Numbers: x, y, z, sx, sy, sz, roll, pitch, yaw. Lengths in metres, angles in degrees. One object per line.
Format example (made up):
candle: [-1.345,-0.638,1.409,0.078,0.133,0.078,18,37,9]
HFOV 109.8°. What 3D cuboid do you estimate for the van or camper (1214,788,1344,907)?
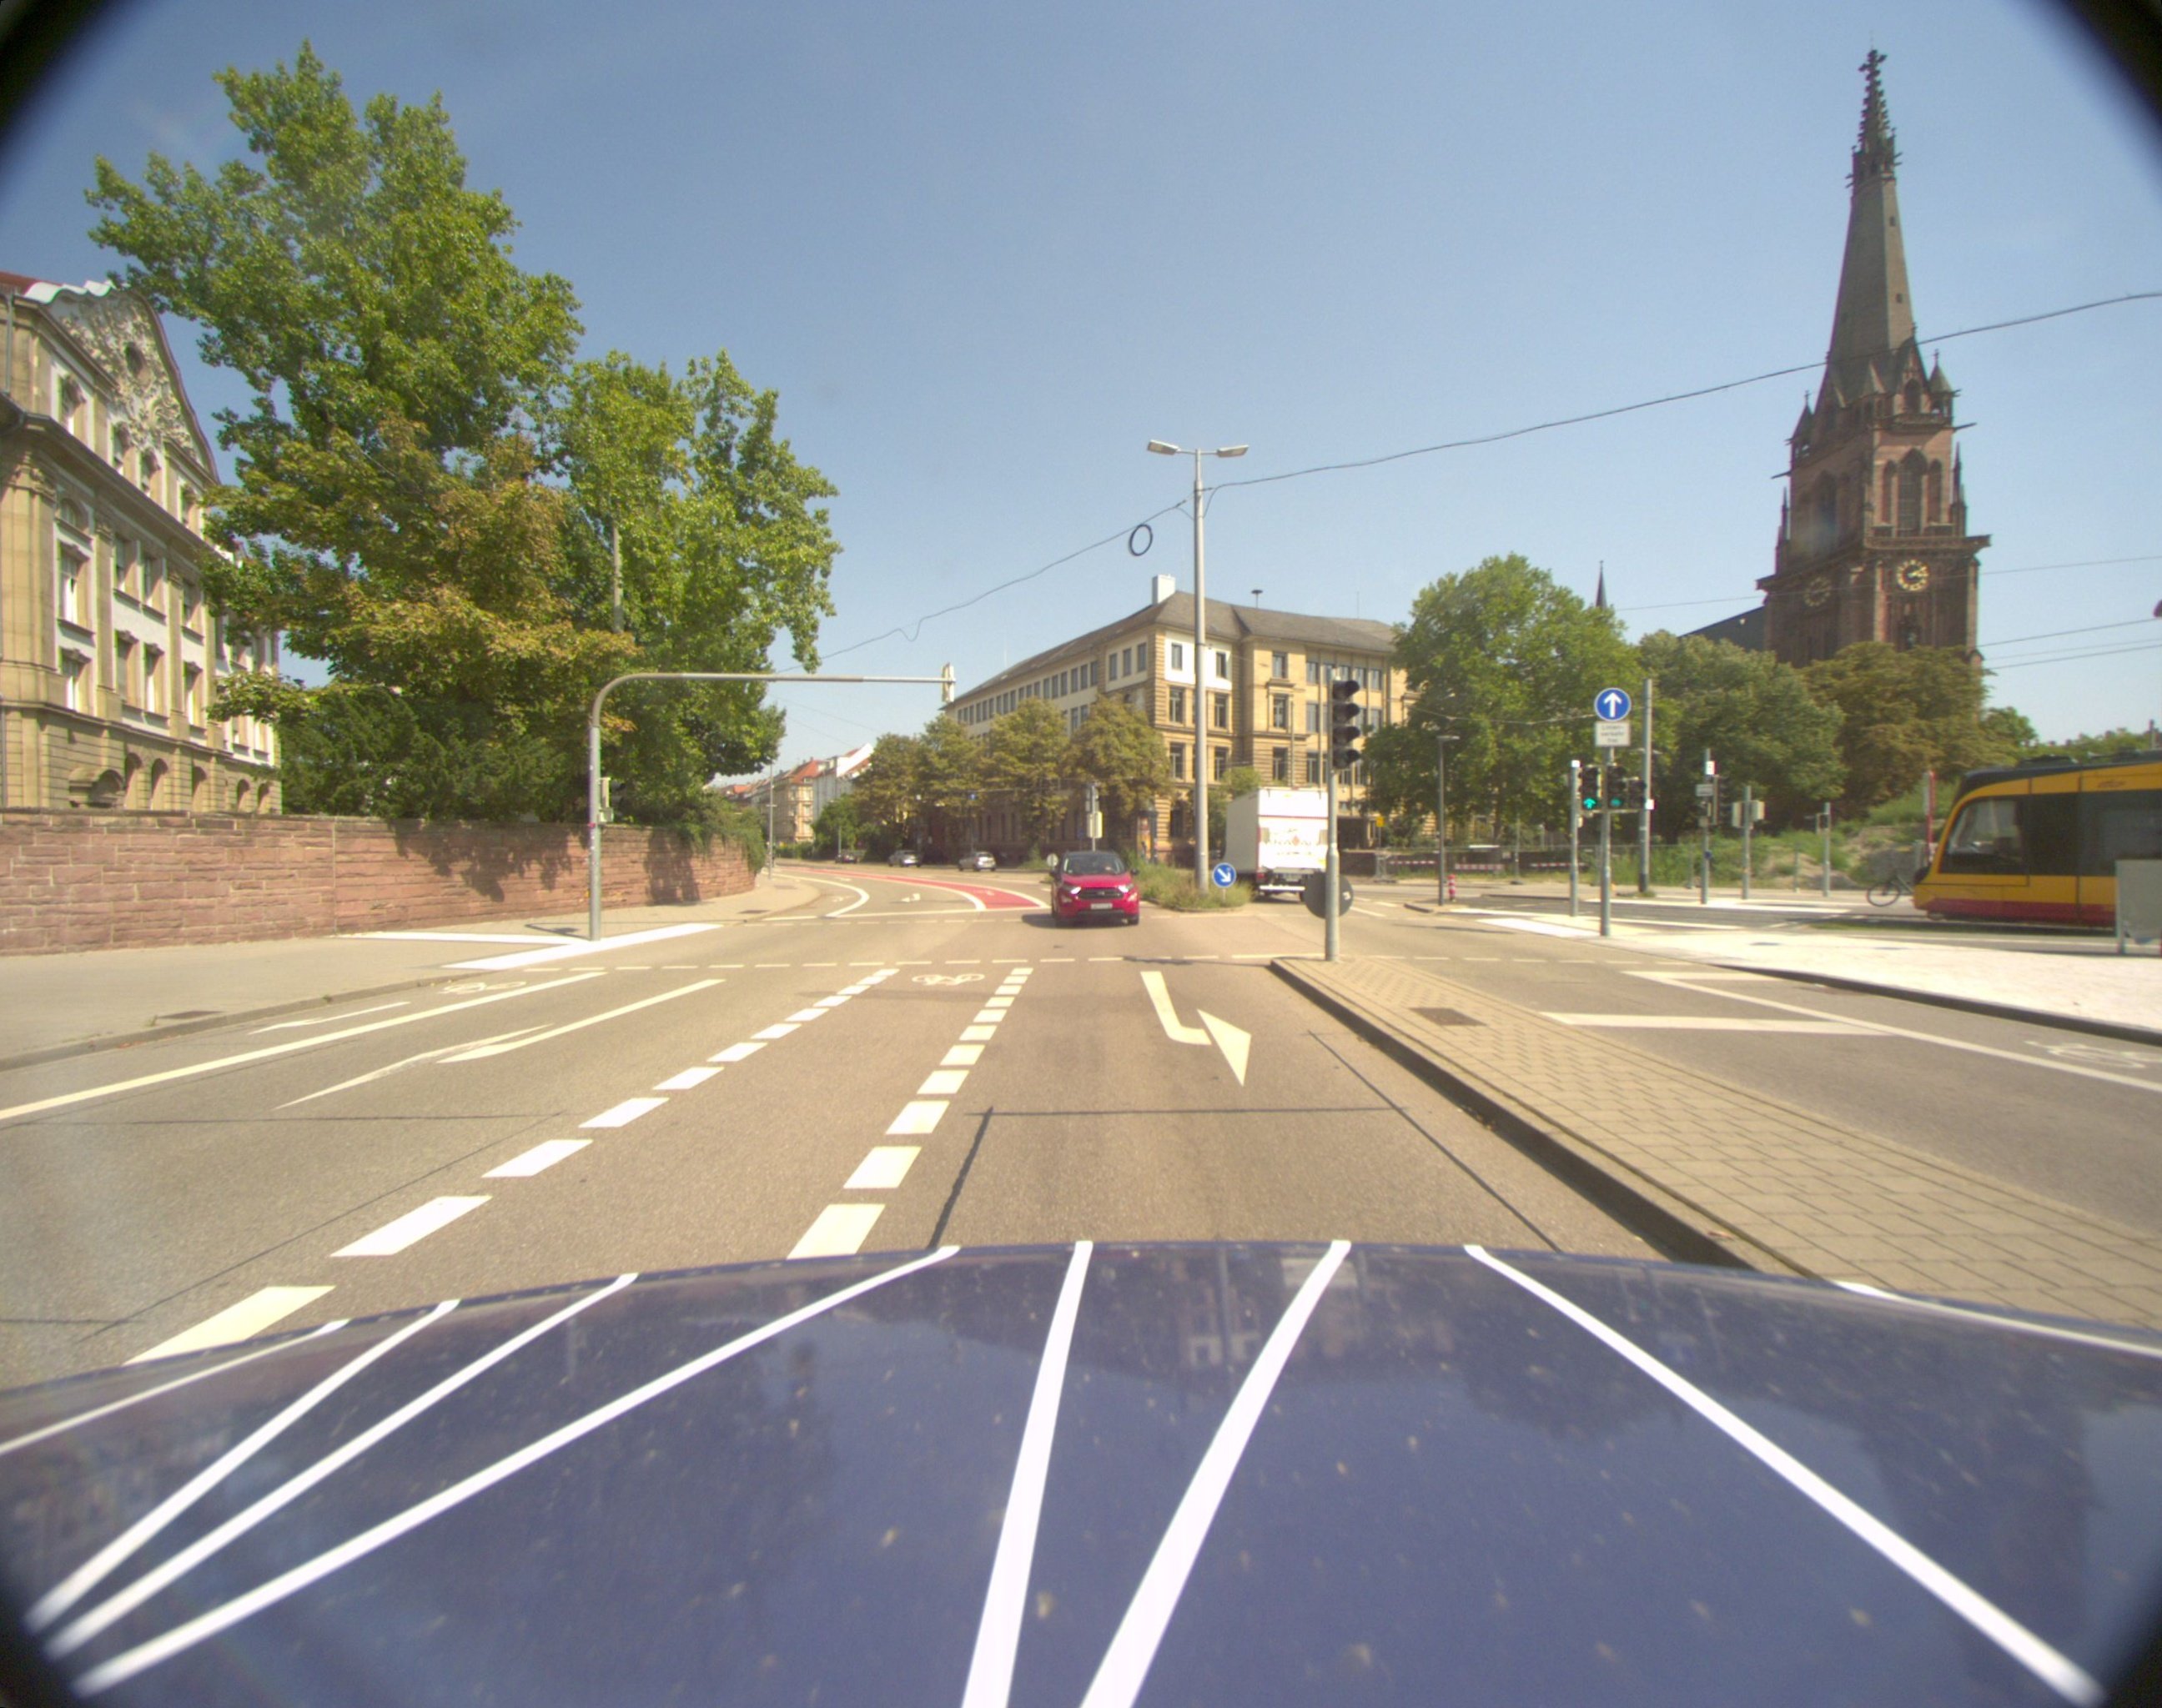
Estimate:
van or camper: [6.116,-0.200,24.679,2.406,3.287,7.190,0,1,1]

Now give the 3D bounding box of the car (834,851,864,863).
car: [-26.842,0.311,87.725,1.696,1.370,4.605,-1,1,-38]

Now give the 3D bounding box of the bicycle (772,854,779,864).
bicycle: [-31.637,0.468,78.638,0.616,0.994,1.708,-1,2,-20]

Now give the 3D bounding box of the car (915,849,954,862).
car: [-16.844,0.138,87.532,1.816,1.453,4.437,0,1,30]

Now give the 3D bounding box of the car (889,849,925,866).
car: [-16.419,0.289,71.690,1.781,1.601,4.661,0,1,-33]

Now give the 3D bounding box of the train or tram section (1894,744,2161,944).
train or tram section: [23.361,-0.142,9.539,2.870,3.528,17.694,-1,1,-34]

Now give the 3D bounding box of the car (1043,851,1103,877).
car: [-0.549,0.569,46.336,1.705,1.521,4.172,0,1,-33]

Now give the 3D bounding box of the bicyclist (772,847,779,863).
bicyclist: [-31.584,0.075,78.524,0.629,1.589,0.990,0,1,-20]

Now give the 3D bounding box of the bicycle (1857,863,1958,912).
bicycle: [21.936,0.854,20.206,0.610,1.215,1.701,-1,1,-29]

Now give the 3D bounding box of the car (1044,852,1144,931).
car: [0.171,0.750,17.268,1.817,1.542,4.018,-1,1,-6]

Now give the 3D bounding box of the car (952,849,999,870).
car: [-8.141,0.401,58.319,1.659,1.521,4.313,0,1,-38]

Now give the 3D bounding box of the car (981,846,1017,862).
car: [-8.094,-0.026,75.412,1.817,1.487,4.169,0,0,20]
